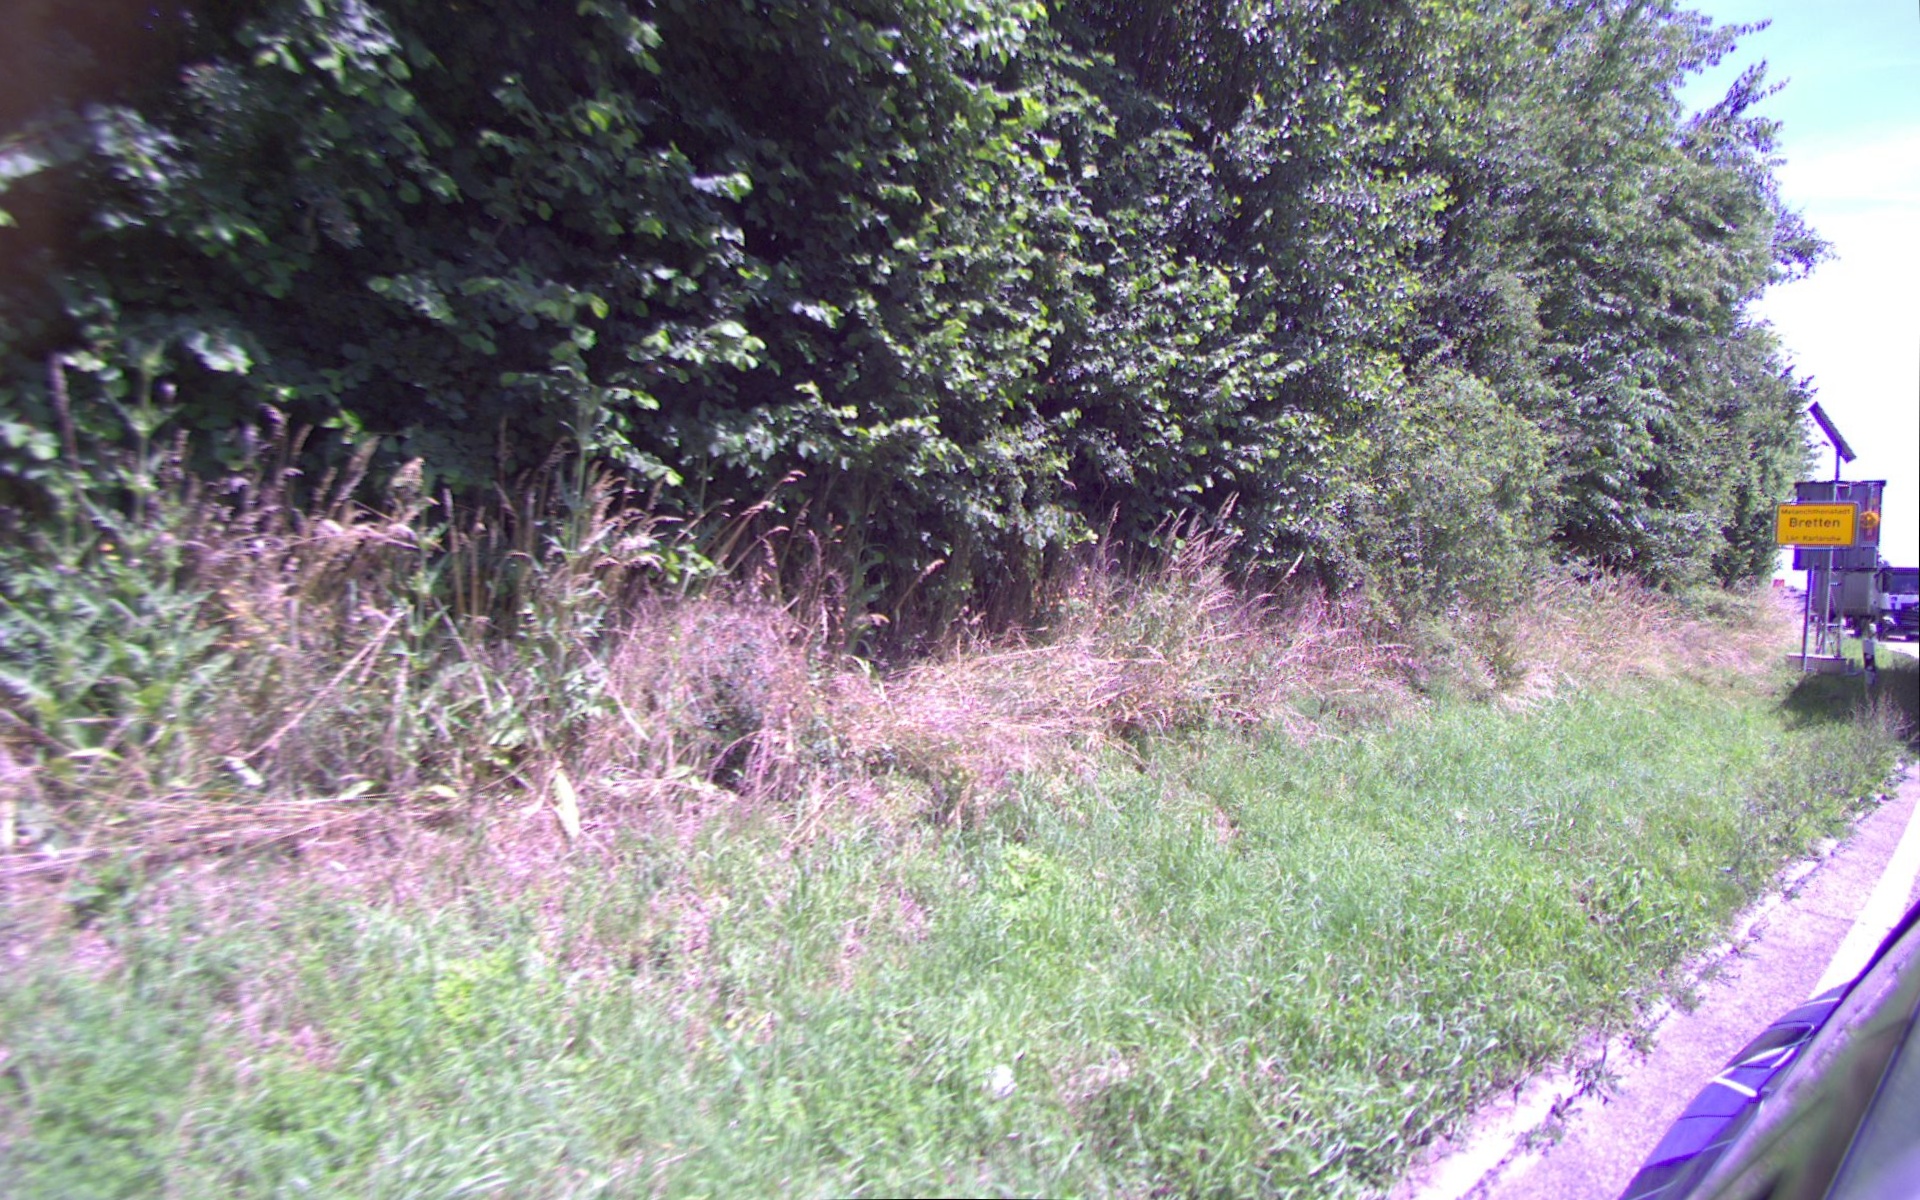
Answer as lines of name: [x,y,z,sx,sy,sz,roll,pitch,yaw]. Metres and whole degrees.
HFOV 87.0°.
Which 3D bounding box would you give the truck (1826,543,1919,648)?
truck: [46.060,-0.324,50.028,2.962,4.527,16.254,1,1,34]
